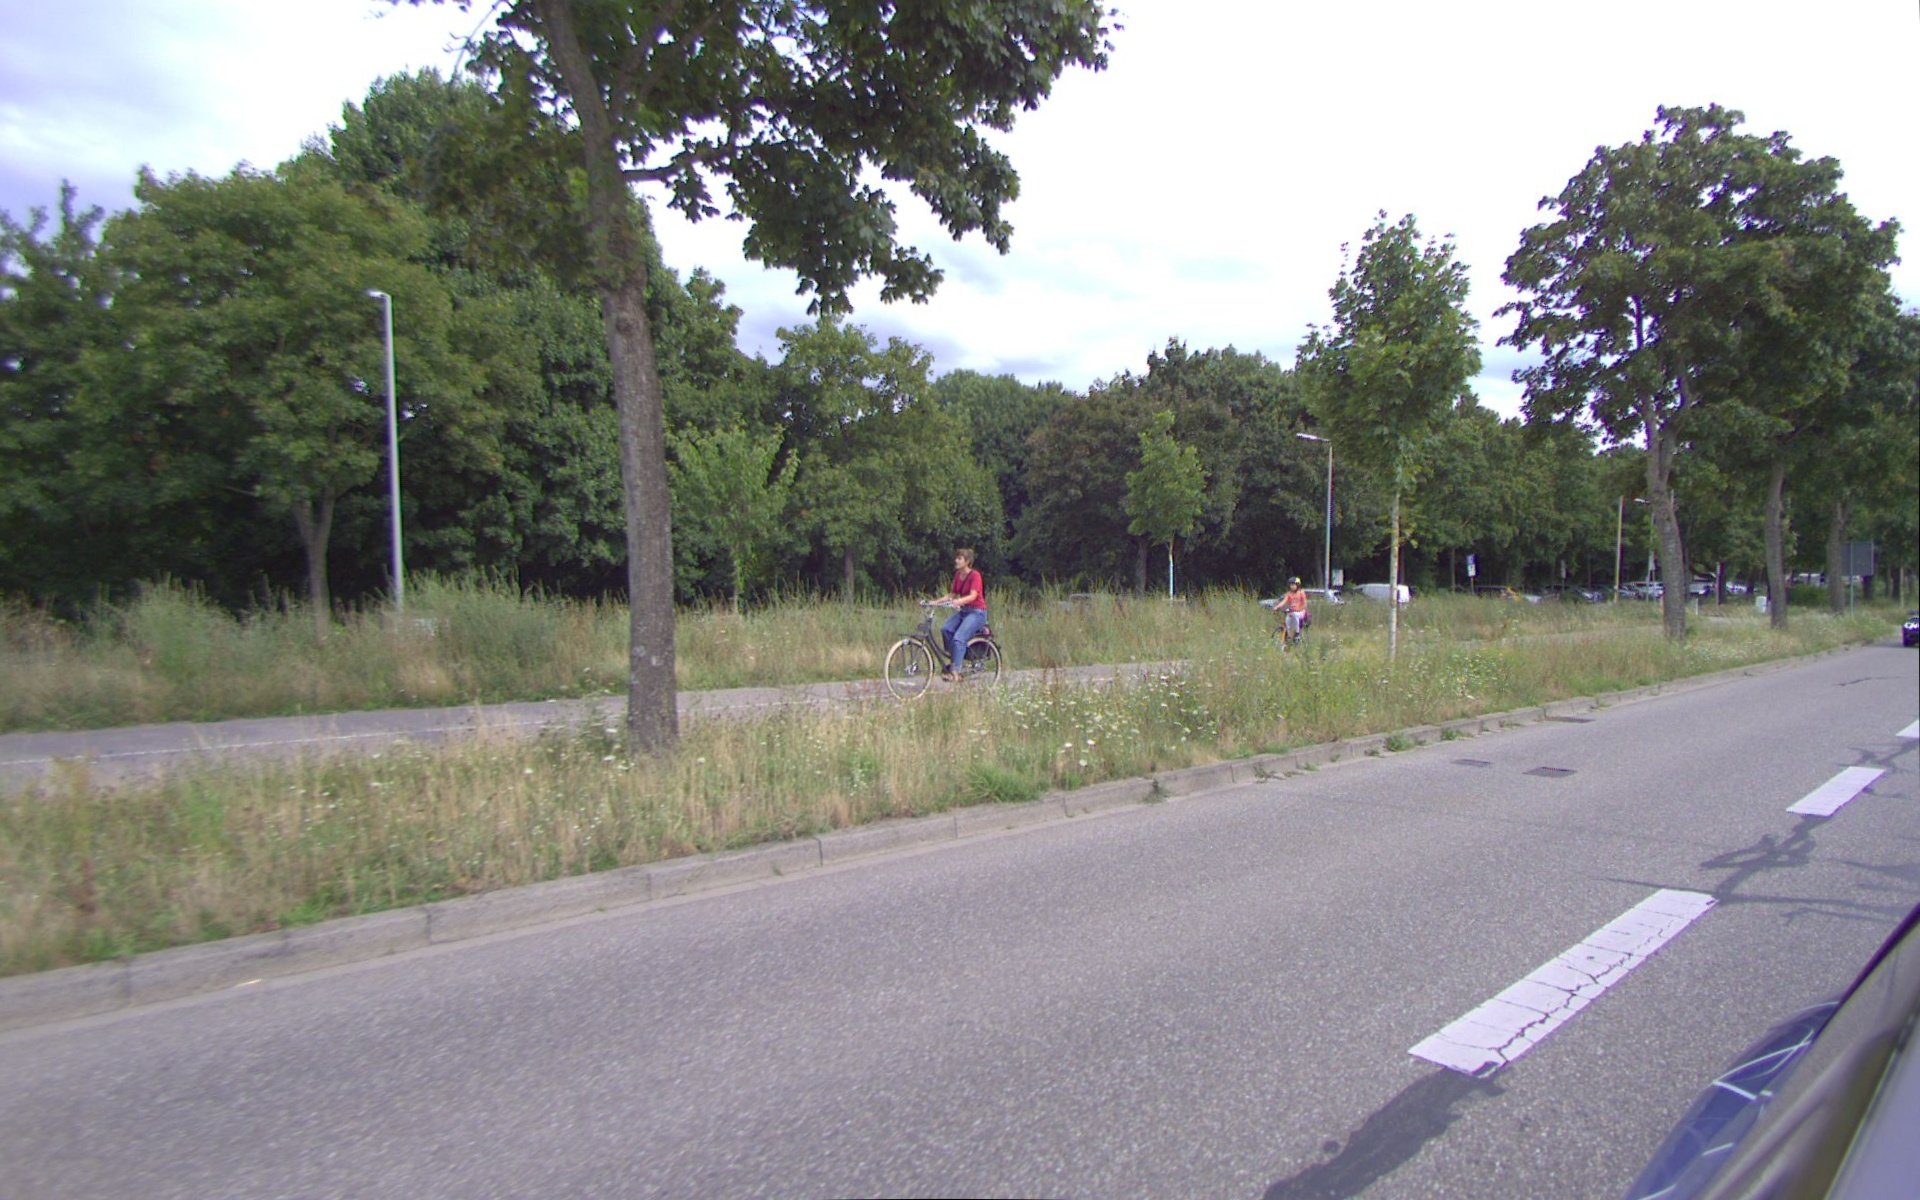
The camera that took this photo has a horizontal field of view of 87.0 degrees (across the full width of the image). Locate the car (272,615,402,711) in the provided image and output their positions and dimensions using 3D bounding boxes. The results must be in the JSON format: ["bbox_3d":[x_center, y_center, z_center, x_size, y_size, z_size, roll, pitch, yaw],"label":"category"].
[{"bbox_3d":[-14.739,1.388,23.850,1.965,1.816,3.994,0,2,-41],"label":"car"}]

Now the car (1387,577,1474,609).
[{"bbox_3d":[26.211,-0.396,56.415,1.773,1.605,3.992,0,2,-43],"label":"car"}]

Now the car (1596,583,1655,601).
[{"bbox_3d":[57.841,-0.706,87.982,3.989,1.383,1.593,3,3,44],"label":"car"}]

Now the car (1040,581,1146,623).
[{"bbox_3d":[5.217,0.031,40.022,3.989,1.461,1.625,3,3,44],"label":"car"}]

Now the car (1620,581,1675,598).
[{"bbox_3d":[63.028,-0.958,92.813,3.989,1.383,1.593,3,3,44],"label":"car"}]

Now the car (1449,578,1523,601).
[{"bbox_3d":[34.424,-0.697,66.335,3.989,1.383,1.593,3,3,44],"label":"car"}]

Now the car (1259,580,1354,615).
[{"bbox_3d":[16.513,-0.147,48.332,3.989,1.461,1.625,3,3,44],"label":"car"}]

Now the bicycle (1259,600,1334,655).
[{"bbox_3d":[6.397,0.500,19.215,1.751,0.976,0.514,0,2,-41],"label":"bicycle"}]

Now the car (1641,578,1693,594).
[{"bbox_3d":[69.771,-1.406,99.895,3.989,1.383,1.593,3,3,44],"label":"car"}]

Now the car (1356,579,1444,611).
[{"bbox_3d":[24.034,-0.297,55.357,1.773,1.605,3.992,0,2,-43],"label":"car"}]

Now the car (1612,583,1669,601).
[{"bbox_3d":[61.048,-0.734,90.797,3.989,1.383,1.593,3,3,44],"label":"car"}]

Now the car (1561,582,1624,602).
[{"bbox_3d":[50.292,-0.643,80.452,3.989,1.383,1.593,3,3,44],"label":"car"}]

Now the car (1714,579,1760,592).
[{"bbox_3d":[88.397,-1.670,115.144,3.989,1.383,1.593,3,3,44],"label":"car"}]

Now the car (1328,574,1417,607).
[{"bbox_3d":[21.642,-0.511,53.140,3.989,1.575,1.625,3,3,44],"label":"car"}]

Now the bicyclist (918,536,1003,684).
[{"bbox_3d":[0.008,0.111,12.007,0.767,1.678,0.653,0,0,-41],"label":"bicyclist"}]

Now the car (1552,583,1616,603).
[{"bbox_3d":[48.492,-0.589,78.690,3.989,1.383,1.593,3,3,44],"label":"car"}]

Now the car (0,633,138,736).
[{"bbox_3d":[-17.576,1.562,20.012,1.964,1.526,3.998,0,2,-38],"label":"car"}]

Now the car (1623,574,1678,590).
[{"bbox_3d":[64.842,-1.727,95.069,3.989,1.383,1.593,3,3,44],"label":"car"}]

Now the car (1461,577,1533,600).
[{"bbox_3d":[36.161,-0.781,68.262,3.989,1.383,1.593,3,3,44],"label":"car"}]

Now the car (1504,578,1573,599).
[{"bbox_3d":[41.484,-0.843,72.587,3.989,1.383,1.593,3,3,44],"label":"car"}]

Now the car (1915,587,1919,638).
[{"bbox_3d":[30.095,0.380,30.087,4.243,1.465,1.773,0,1,-37],"label":"car"}]

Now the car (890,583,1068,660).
[{"bbox_3d":[0.344,0.398,21.664,3.802,1.392,1.513,3,3,44],"label":"car"}]

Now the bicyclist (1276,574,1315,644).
[{"bbox_3d":[6.352,0.159,19.159,0.442,1.299,0.539,0,0,-40],"label":"bicyclist"}]

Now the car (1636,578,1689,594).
[{"bbox_3d":[67.883,-1.349,97.837,3.989,1.383,1.593,3,3,44],"label":"car"}]

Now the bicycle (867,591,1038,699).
[{"bbox_3d":[-0.048,0.481,11.925,2.192,1.162,0.514,0,2,-41],"label":"bicycle"}]

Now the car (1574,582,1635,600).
[{"bbox_3d":[53.600,-0.766,84.190,3.989,1.383,1.593,3,3,44],"label":"car"}]
